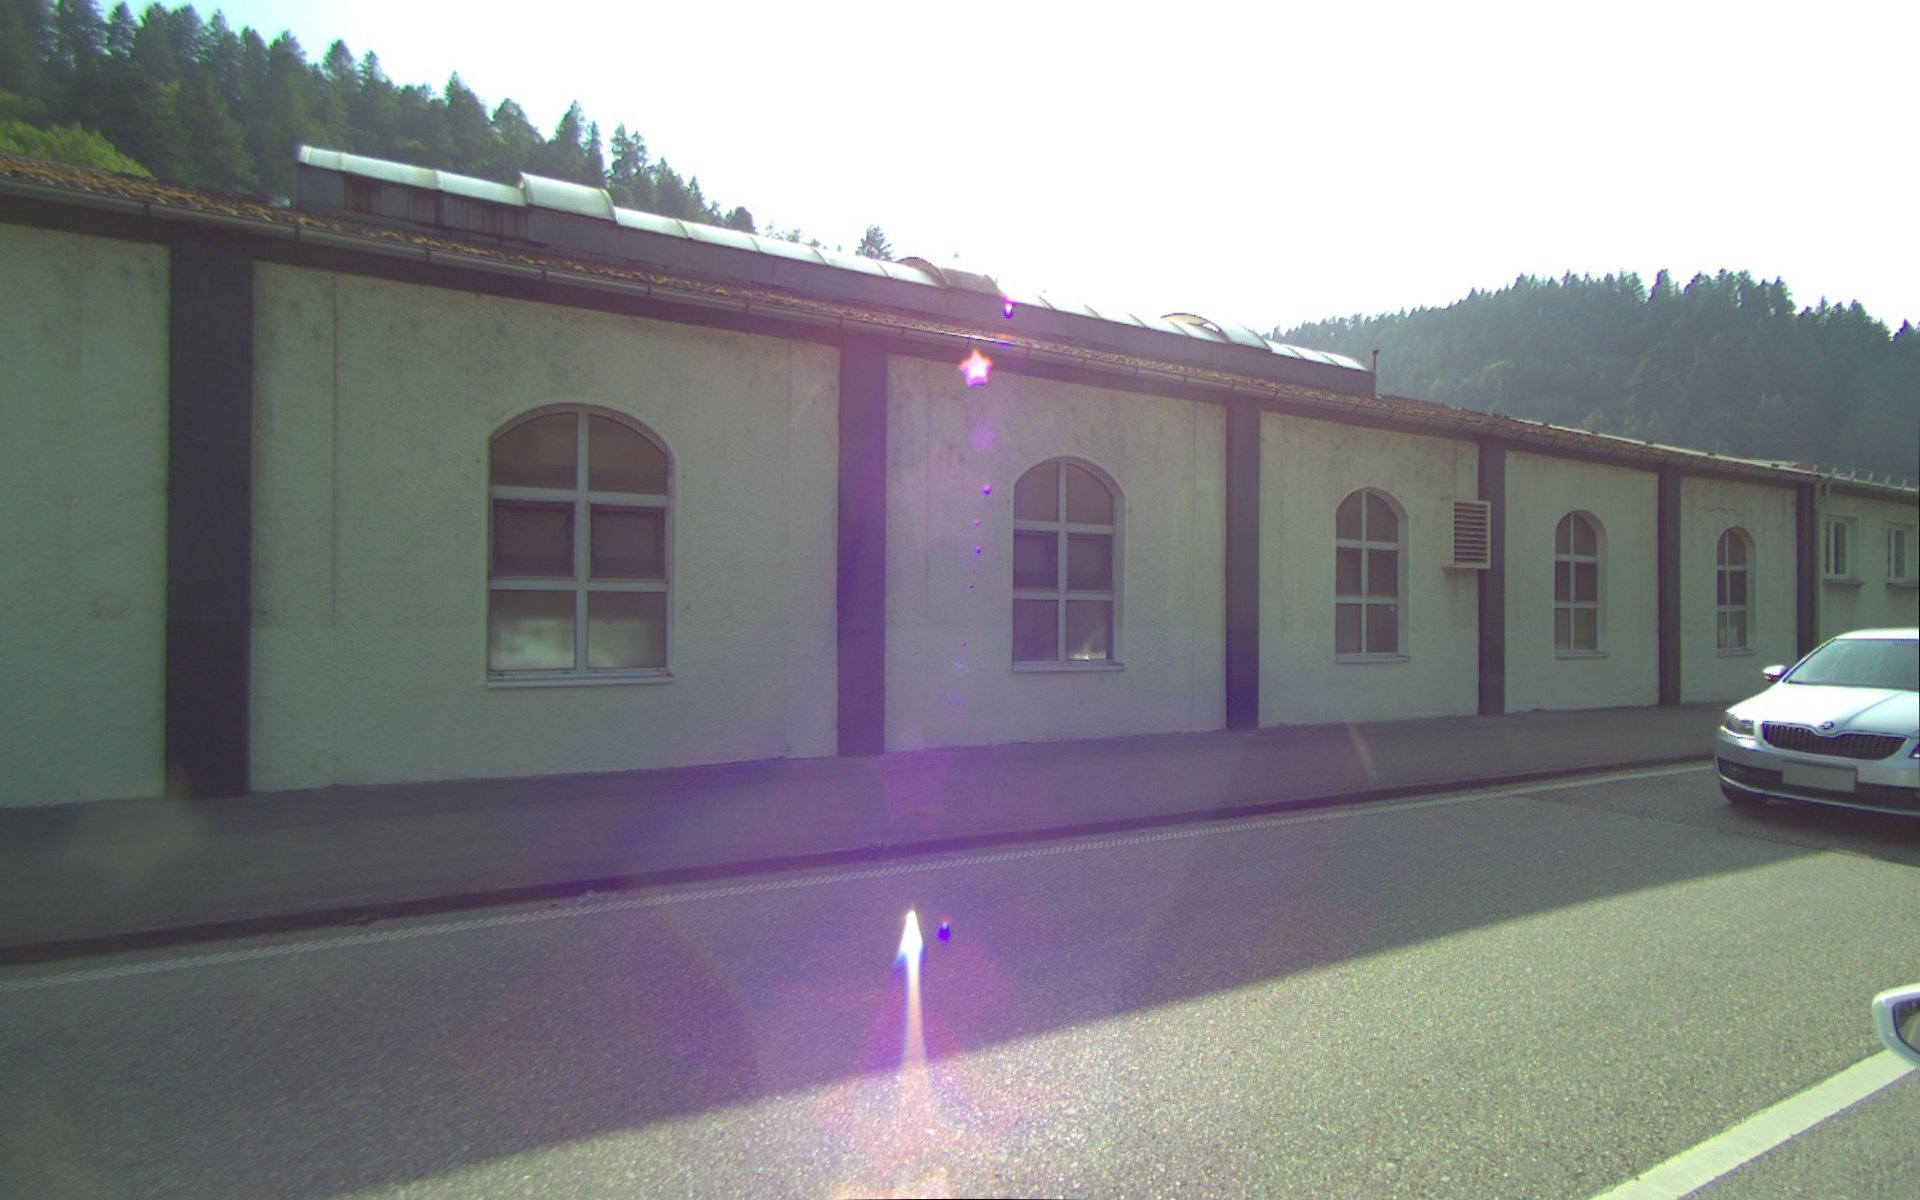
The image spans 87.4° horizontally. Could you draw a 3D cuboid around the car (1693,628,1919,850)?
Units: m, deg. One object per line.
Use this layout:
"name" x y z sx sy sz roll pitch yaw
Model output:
"car" 7.803 0.958 7.997 4.062 1.411 1.731 1 0 -31
